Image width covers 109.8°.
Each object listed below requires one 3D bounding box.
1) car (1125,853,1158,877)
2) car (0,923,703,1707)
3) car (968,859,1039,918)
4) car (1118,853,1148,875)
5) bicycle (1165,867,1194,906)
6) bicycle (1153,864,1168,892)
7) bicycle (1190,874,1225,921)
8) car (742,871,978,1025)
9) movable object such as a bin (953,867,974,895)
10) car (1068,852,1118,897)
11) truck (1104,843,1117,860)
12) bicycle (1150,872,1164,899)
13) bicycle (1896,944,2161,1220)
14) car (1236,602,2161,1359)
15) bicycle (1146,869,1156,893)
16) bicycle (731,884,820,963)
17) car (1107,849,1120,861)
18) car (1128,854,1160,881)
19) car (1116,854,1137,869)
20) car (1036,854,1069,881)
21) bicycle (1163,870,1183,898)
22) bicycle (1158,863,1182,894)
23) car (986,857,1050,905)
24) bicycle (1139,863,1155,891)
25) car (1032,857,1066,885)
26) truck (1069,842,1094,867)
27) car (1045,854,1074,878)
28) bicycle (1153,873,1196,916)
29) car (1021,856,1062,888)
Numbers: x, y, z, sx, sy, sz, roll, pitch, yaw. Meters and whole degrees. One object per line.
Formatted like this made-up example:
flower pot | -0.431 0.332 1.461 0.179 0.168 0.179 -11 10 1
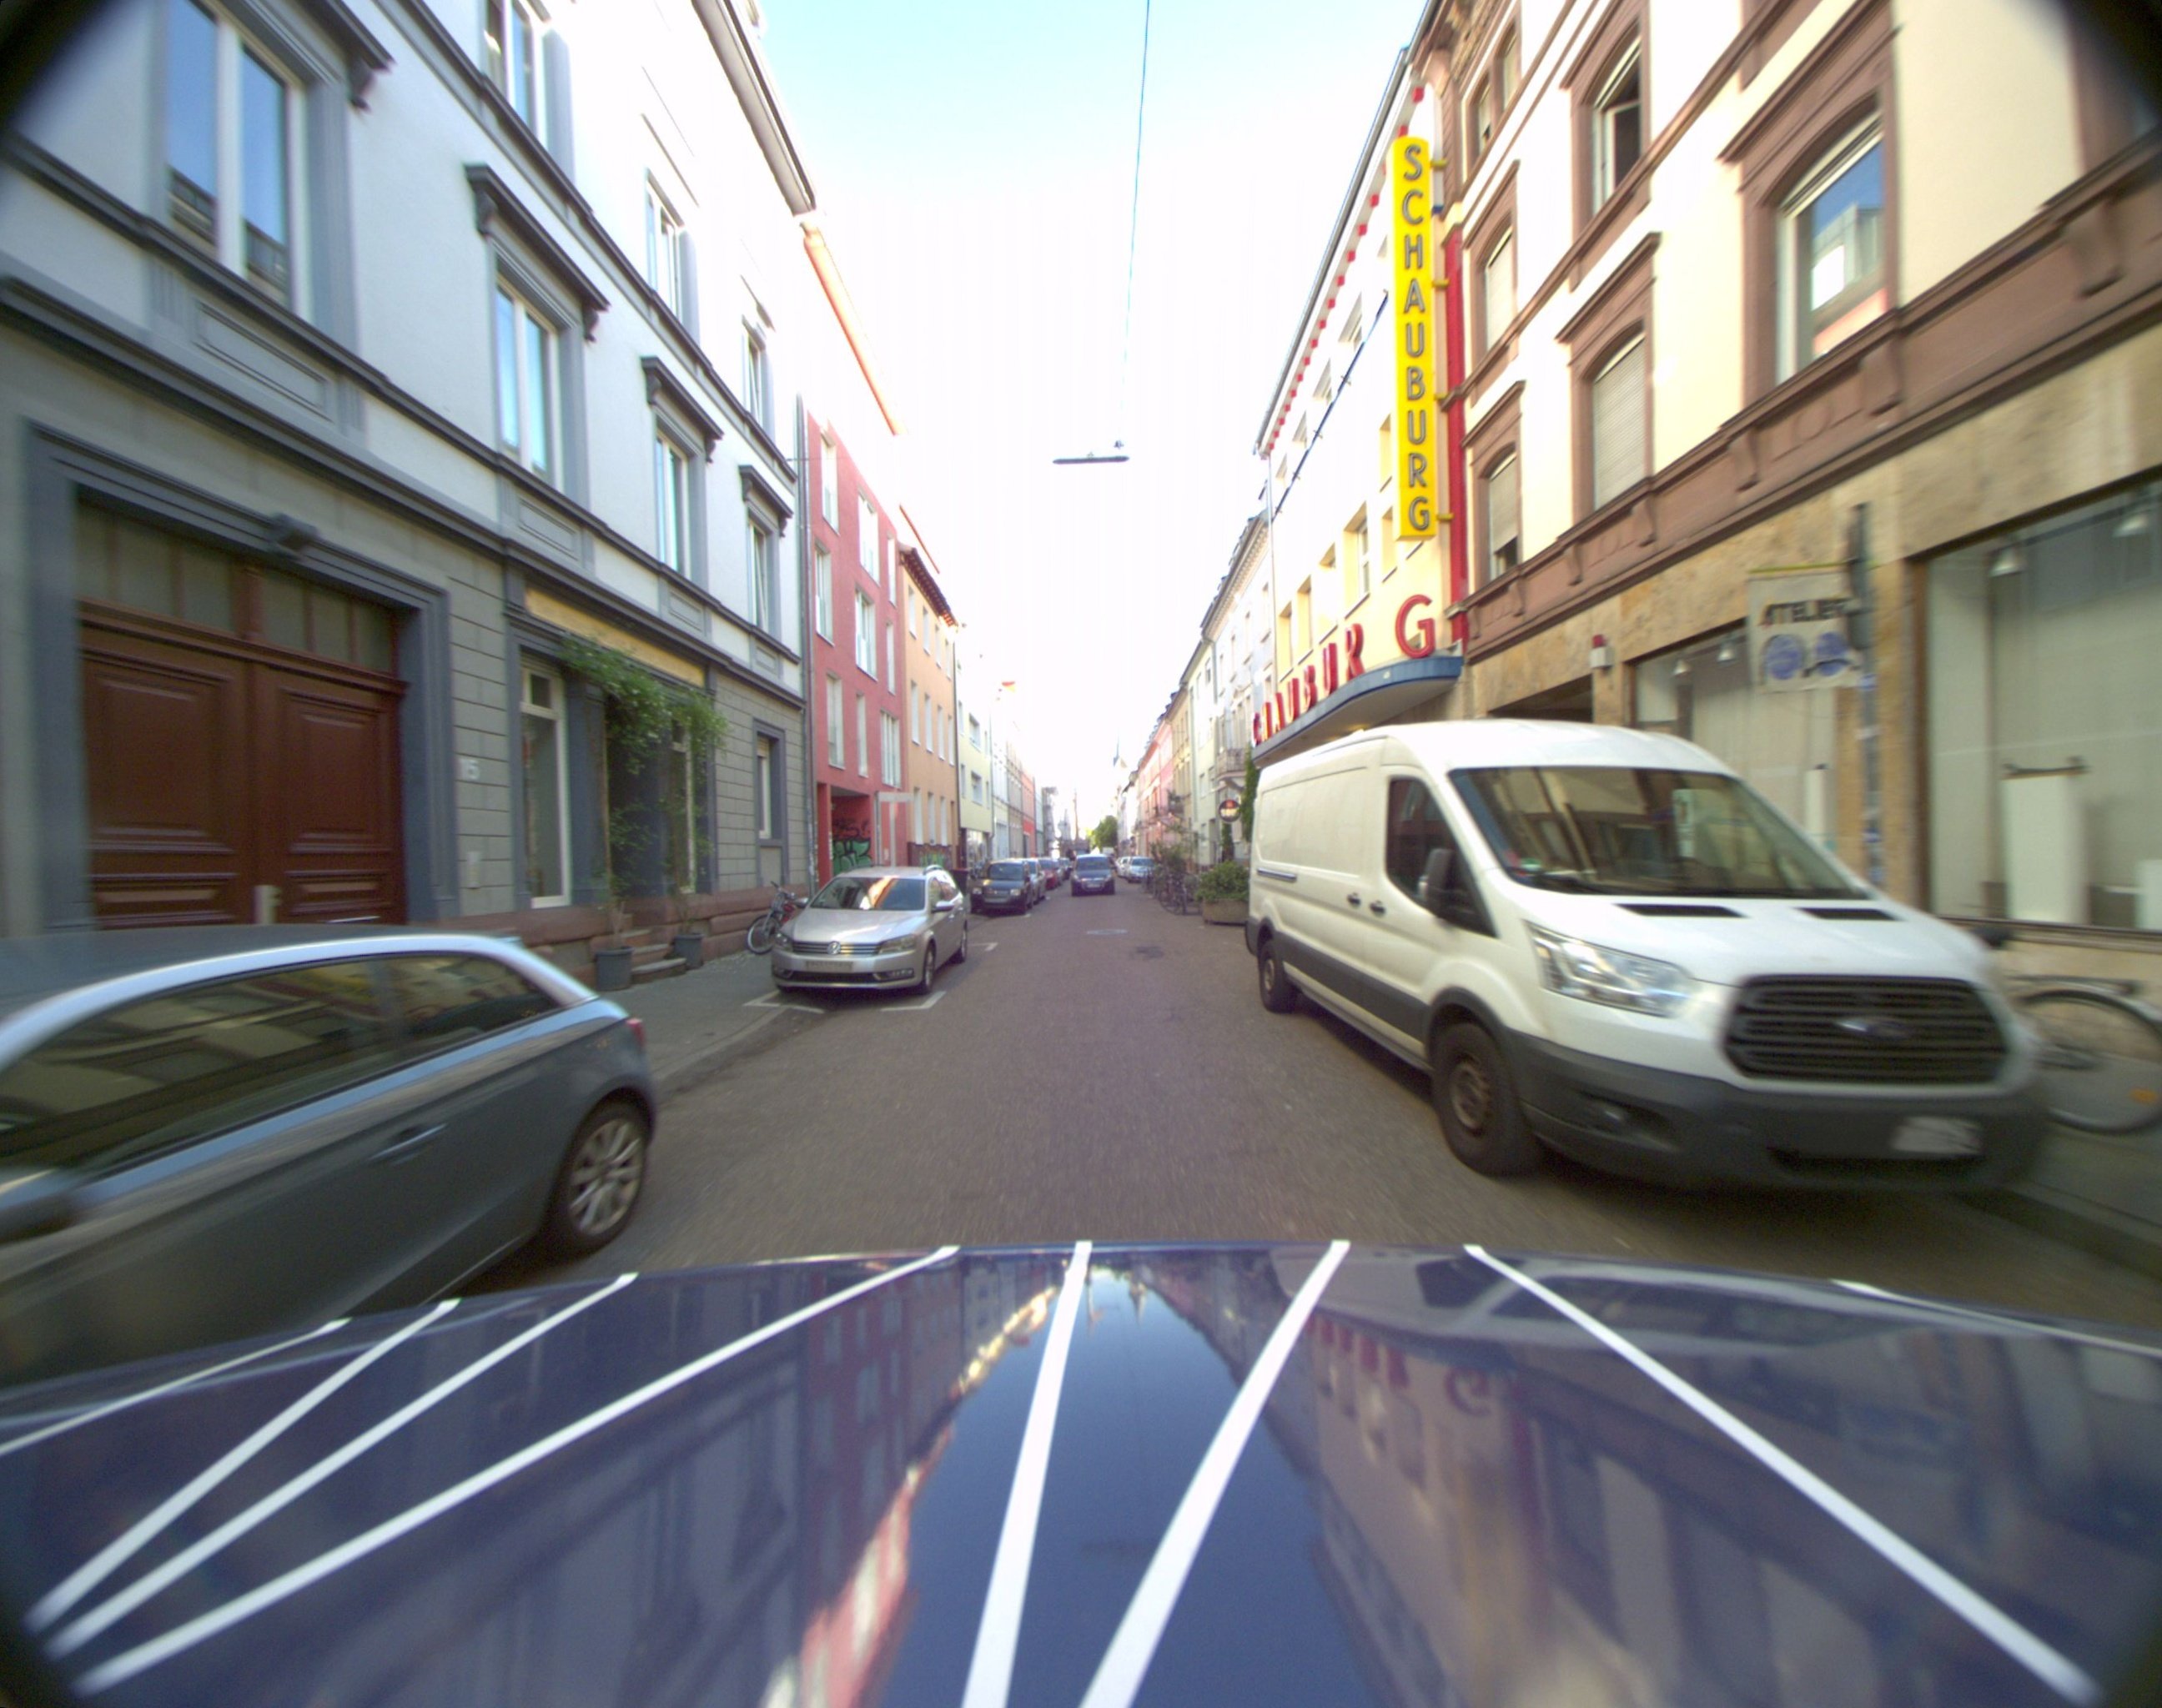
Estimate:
car | 3.813 0.663 48.592 1.794 1.443 4.000 -1 0 1
car | -2.888 1.108 1.831 1.752 1.436 4.172 -2 0 1
car | -2.225 0.959 22.531 1.606 1.530 3.450 1 0 2
car | 3.614 0.700 53.608 1.792 1.454 4.200 -1 0 0
bicycle | 3.048 0.989 23.622 0.547 1.088 1.881 -3 0 -3
bicycle | 3.360 0.988 32.166 0.444 1.099 1.932 -2 0 1
bicycle | 3.154 1.058 19.024 0.443 1.041 1.864 -3 0 -3
car | -2.631 1.042 10.257 1.791 1.446 4.547 1 0 0
movable object such as a bin | -4.560 1.043 29.517 0.694 1.052 0.736 1 1 2
car | 0.509 0.765 30.460 1.832 1.650 4.213 -1 0 1
truck | 5.945 -0.561 154.609 2.524 3.271 6.643 -1 0 2
bicycle | 2.712 1.113 27.261 0.391 0.911 1.393 -1 0 2
bicycle | 4.438 0.991 3.562 0.223 1.030 0.846 -2 1 -10
car | 2.803 0.405 5.408 2.173 2.438 5.921 0 0 0
bicycle | 2.817 1.074 30.506 0.322 0.911 1.290 -1 0 2
bicycle | -4.961 1.096 12.479 0.712 1.091 1.900 1 1 -1
car | 5.367 0.150 125.973 1.998 2.002 4.258 -1 0 2
car | 3.565 0.727 43.099 1.684 1.446 4.035 0 0 5
car | 4.230 0.675 70.910 1.771 1.335 4.380 0 0 0
car | -1.733 0.810 47.828 1.794 1.542 4.000 -1 0 1
bicycle | 3.327 1.074 27.599 0.555 0.938 1.572 -1 0 2
bicycle | 3.541 0.959 30.348 0.815 1.168 0.920 -2 1 -1
car | -2.163 0.903 27.279 1.750 1.547 4.172 -1 0 2
bicycle | 2.769 0.967 32.103 0.500 1.099 1.830 -2 0 1
car | -1.738 0.898 42.309 1.692 1.444 4.193 0 0 0
truck | 0.072 0.060 92.506 2.819 2.735 7.678 -3 0 1
car | -1.488 0.824 53.349 1.766 1.513 4.380 -2 0 1
bicycle | 2.456 1.044 20.103 0.462 1.041 1.748 -3 0 -15
car | -1.912 0.848 37.734 1.701 1.514 3.980 0 0 2
